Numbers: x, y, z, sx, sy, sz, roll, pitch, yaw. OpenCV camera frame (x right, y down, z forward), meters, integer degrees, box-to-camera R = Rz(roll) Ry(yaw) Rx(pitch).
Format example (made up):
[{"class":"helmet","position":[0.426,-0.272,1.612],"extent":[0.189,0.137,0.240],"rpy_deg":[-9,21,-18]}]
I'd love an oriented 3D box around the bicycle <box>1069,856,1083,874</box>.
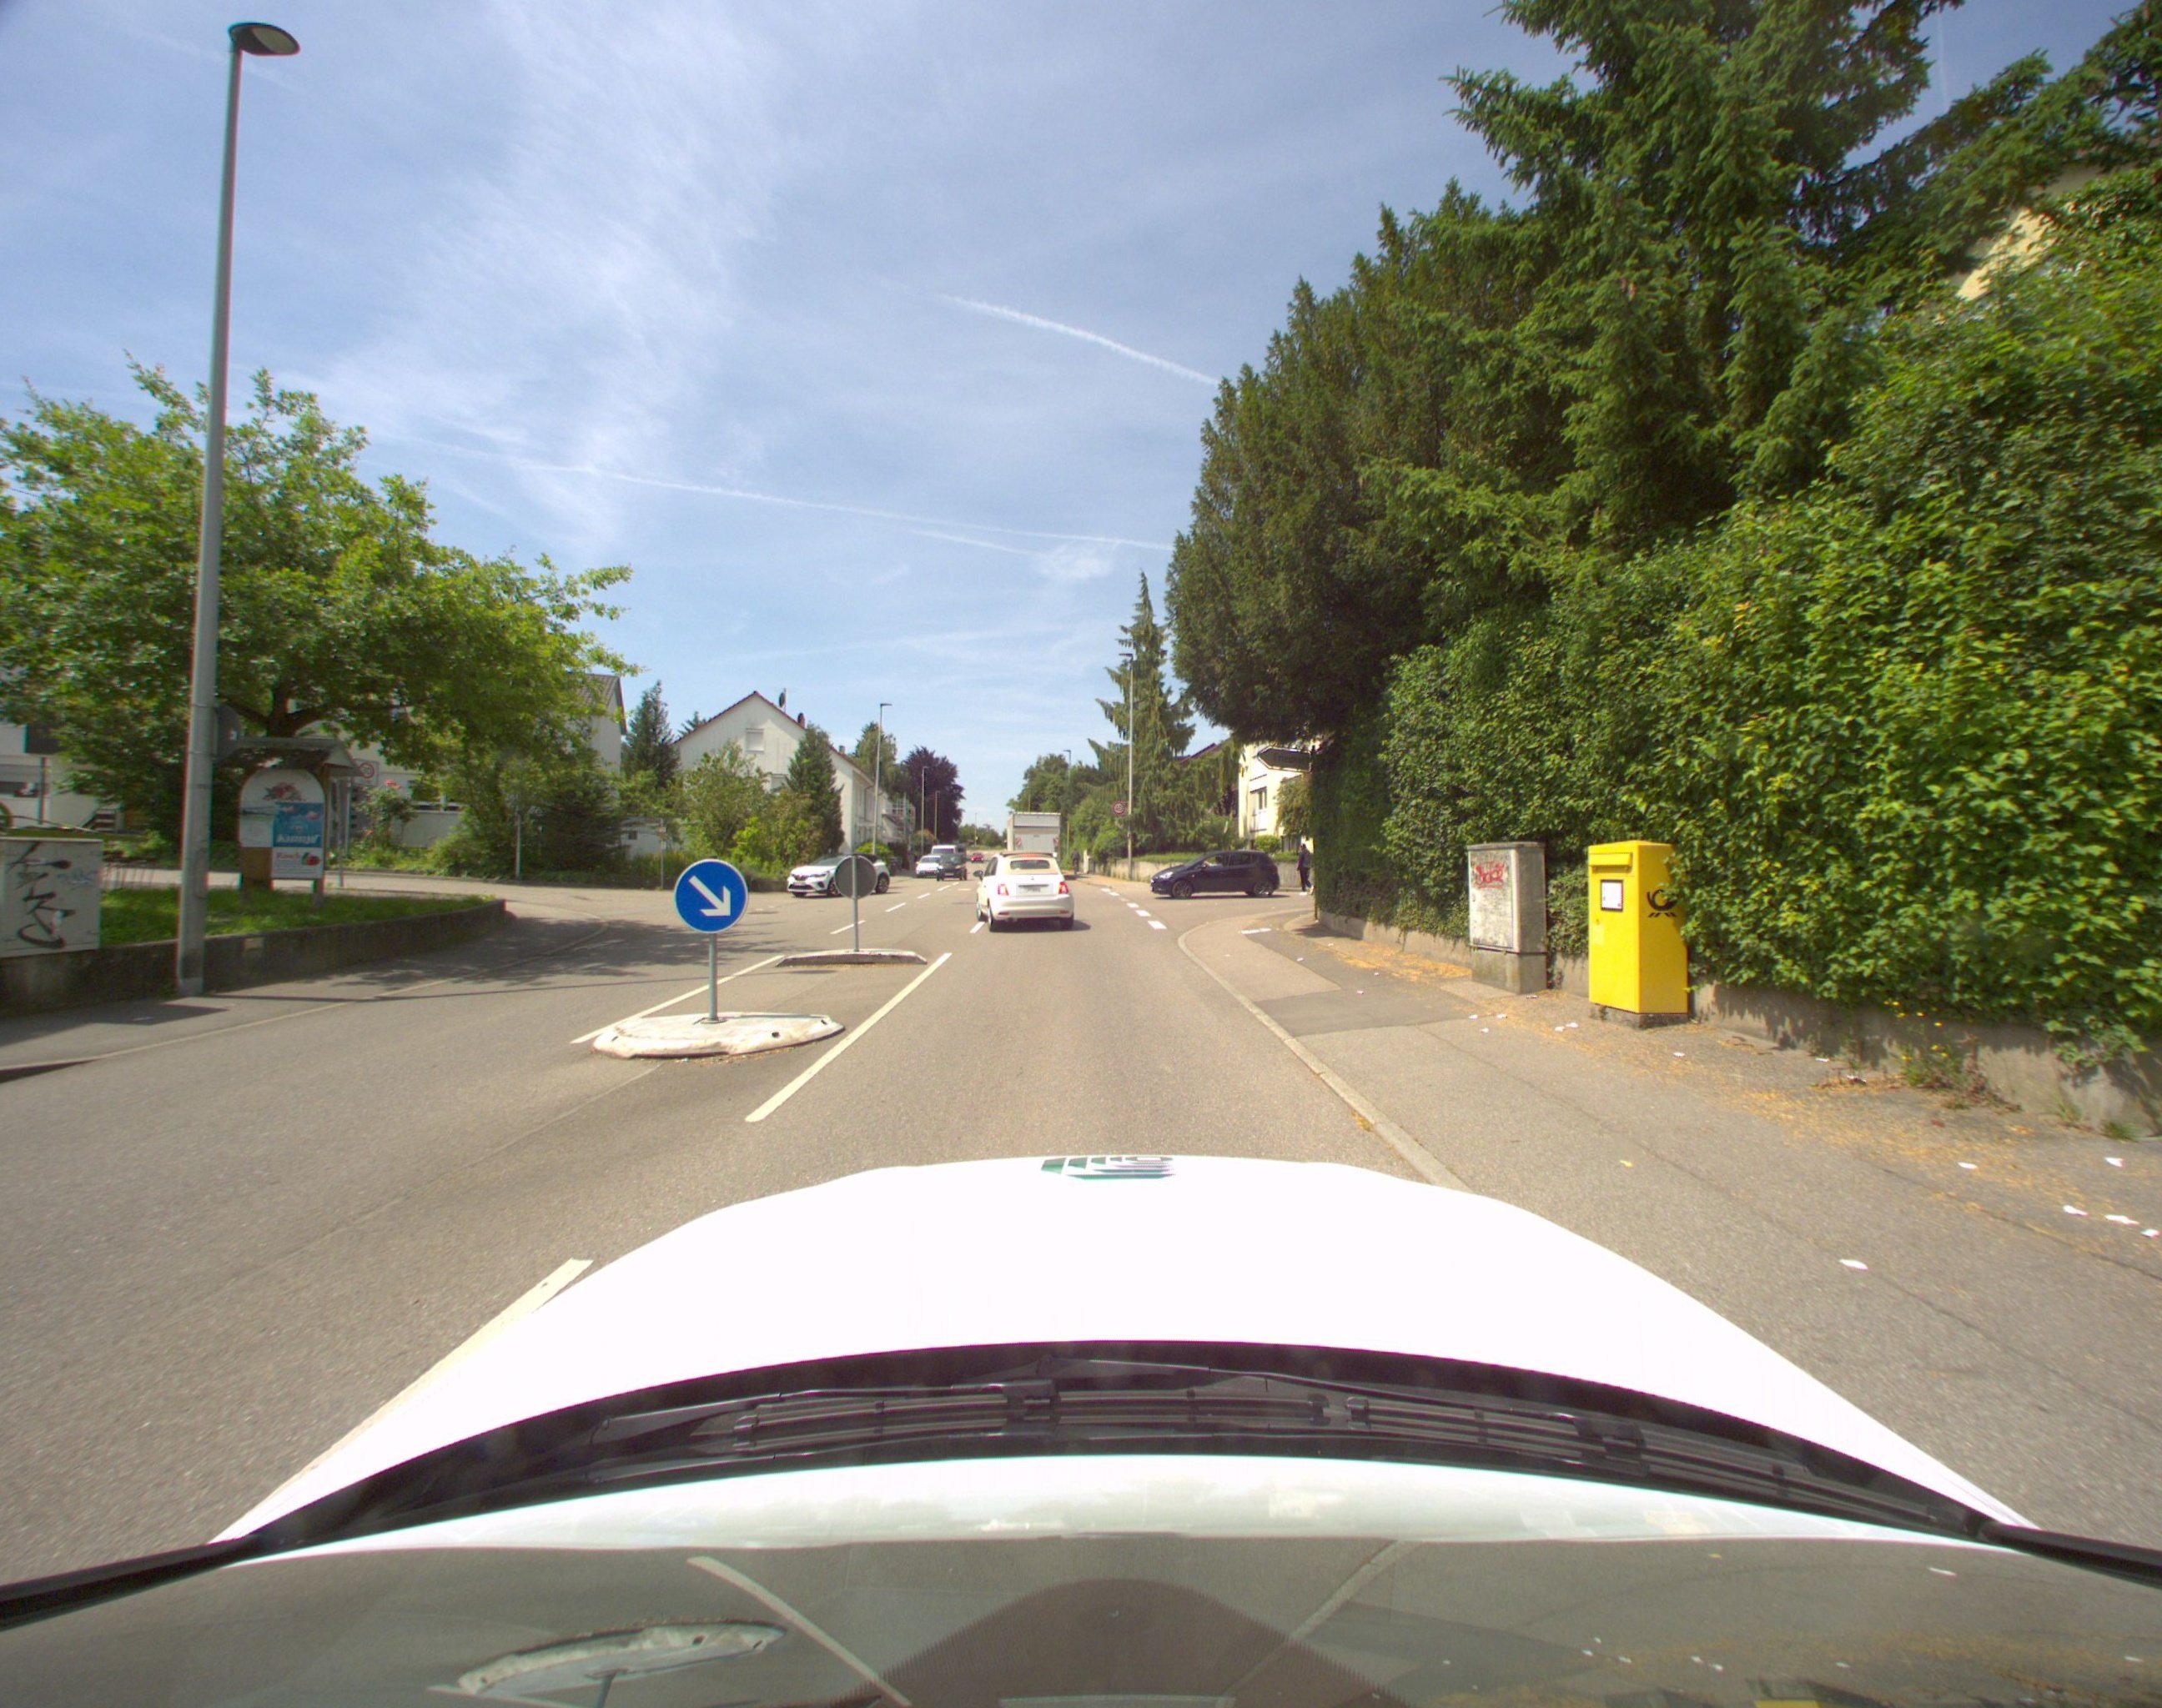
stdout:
[{"class":"bicycle","position":[-0.330,0.710,52.240],"extent":[0.667,1.104,2.420],"rpy_deg":[1,0,-6]}]

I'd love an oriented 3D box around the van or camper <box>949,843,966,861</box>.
[{"class":"van or camper","position":[-21.098,-0.383,139.145],"extent":[2.260,2.962,5.880],"rpy_deg":[1,0,-4]}]

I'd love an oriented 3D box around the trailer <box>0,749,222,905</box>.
[{"class":"trailer","position":[-13.233,-0.357,9.926],"extent":[3.662,1.691,2.780],"rpy_deg":[2,0,26]}]

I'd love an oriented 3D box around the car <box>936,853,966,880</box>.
[{"class":"car","position":[-7.433,0.694,46.664],"extent":[1.478,1.510,2.795],"rpy_deg":[-1,0,-5]}]

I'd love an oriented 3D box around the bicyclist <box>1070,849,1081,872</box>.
[{"class":"bicyclist","position":[-0.348,0.406,51.862],"extent":[0.587,1.412,0.740],"rpy_deg":[1,0,-6]}]

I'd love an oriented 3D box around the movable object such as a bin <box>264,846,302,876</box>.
[{"class":"movable object such as a bin","position":[-24.904,0.222,25.412],"extent":[0.574,0.890,0.593],"rpy_deg":[2,0,6]}]

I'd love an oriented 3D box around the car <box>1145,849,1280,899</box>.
[{"class":"car","position":[4.038,0.601,25.465],"extent":[3.923,1.458,1.657],"rpy_deg":[-1,0,-3]}]

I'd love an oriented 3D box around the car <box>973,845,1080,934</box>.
[{"class":"car","position":[-1.255,0.647,16.991],"extent":[1.725,1.560,3.985],"rpy_deg":[-2,0,-11]}]

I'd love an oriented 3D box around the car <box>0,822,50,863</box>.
[{"class":"car","position":[-38.376,-0.419,27.940],"extent":[1.555,1.381,3.781],"rpy_deg":[3,0,-10]}]

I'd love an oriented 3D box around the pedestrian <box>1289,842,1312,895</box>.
[{"class":"pedestrian","position":[7.033,0.455,26.089],"extent":[0.690,1.671,0.572],"rpy_deg":[0,0,18]}]

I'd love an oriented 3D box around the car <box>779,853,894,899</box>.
[{"class":"car","position":[-8.734,0.723,29.489],"extent":[1.768,1.529,4.193],"rpy_deg":[0,0,21]}]

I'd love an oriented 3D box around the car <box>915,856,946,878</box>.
[{"class":"car","position":[-9.777,0.817,53.075],"extent":[1.803,1.398,3.989],"rpy_deg":[0,0,-8]}]

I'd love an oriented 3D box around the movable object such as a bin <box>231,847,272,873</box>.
[{"class":"movable object such as a bin","position":[-25.977,0.183,25.507],"extent":[0.635,0.810,0.605],"rpy_deg":[1,0,5]}]

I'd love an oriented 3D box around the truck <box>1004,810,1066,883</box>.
[{"class":"truck","position":[-2.787,-0.386,46.727],"extent":[3.066,3.774,7.848],"rpy_deg":[-1,0,-7]}]

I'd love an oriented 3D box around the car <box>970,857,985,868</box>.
[{"class":"car","position":[-15.742,1.261,124.267],"extent":[1.828,1.534,3.998],"rpy_deg":[1,0,-1]}]

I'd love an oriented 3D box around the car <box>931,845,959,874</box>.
[{"class":"car","position":[-11.000,0.415,66.357],"extent":[2.036,2.199,5.567],"rpy_deg":[0,0,-8]}]
